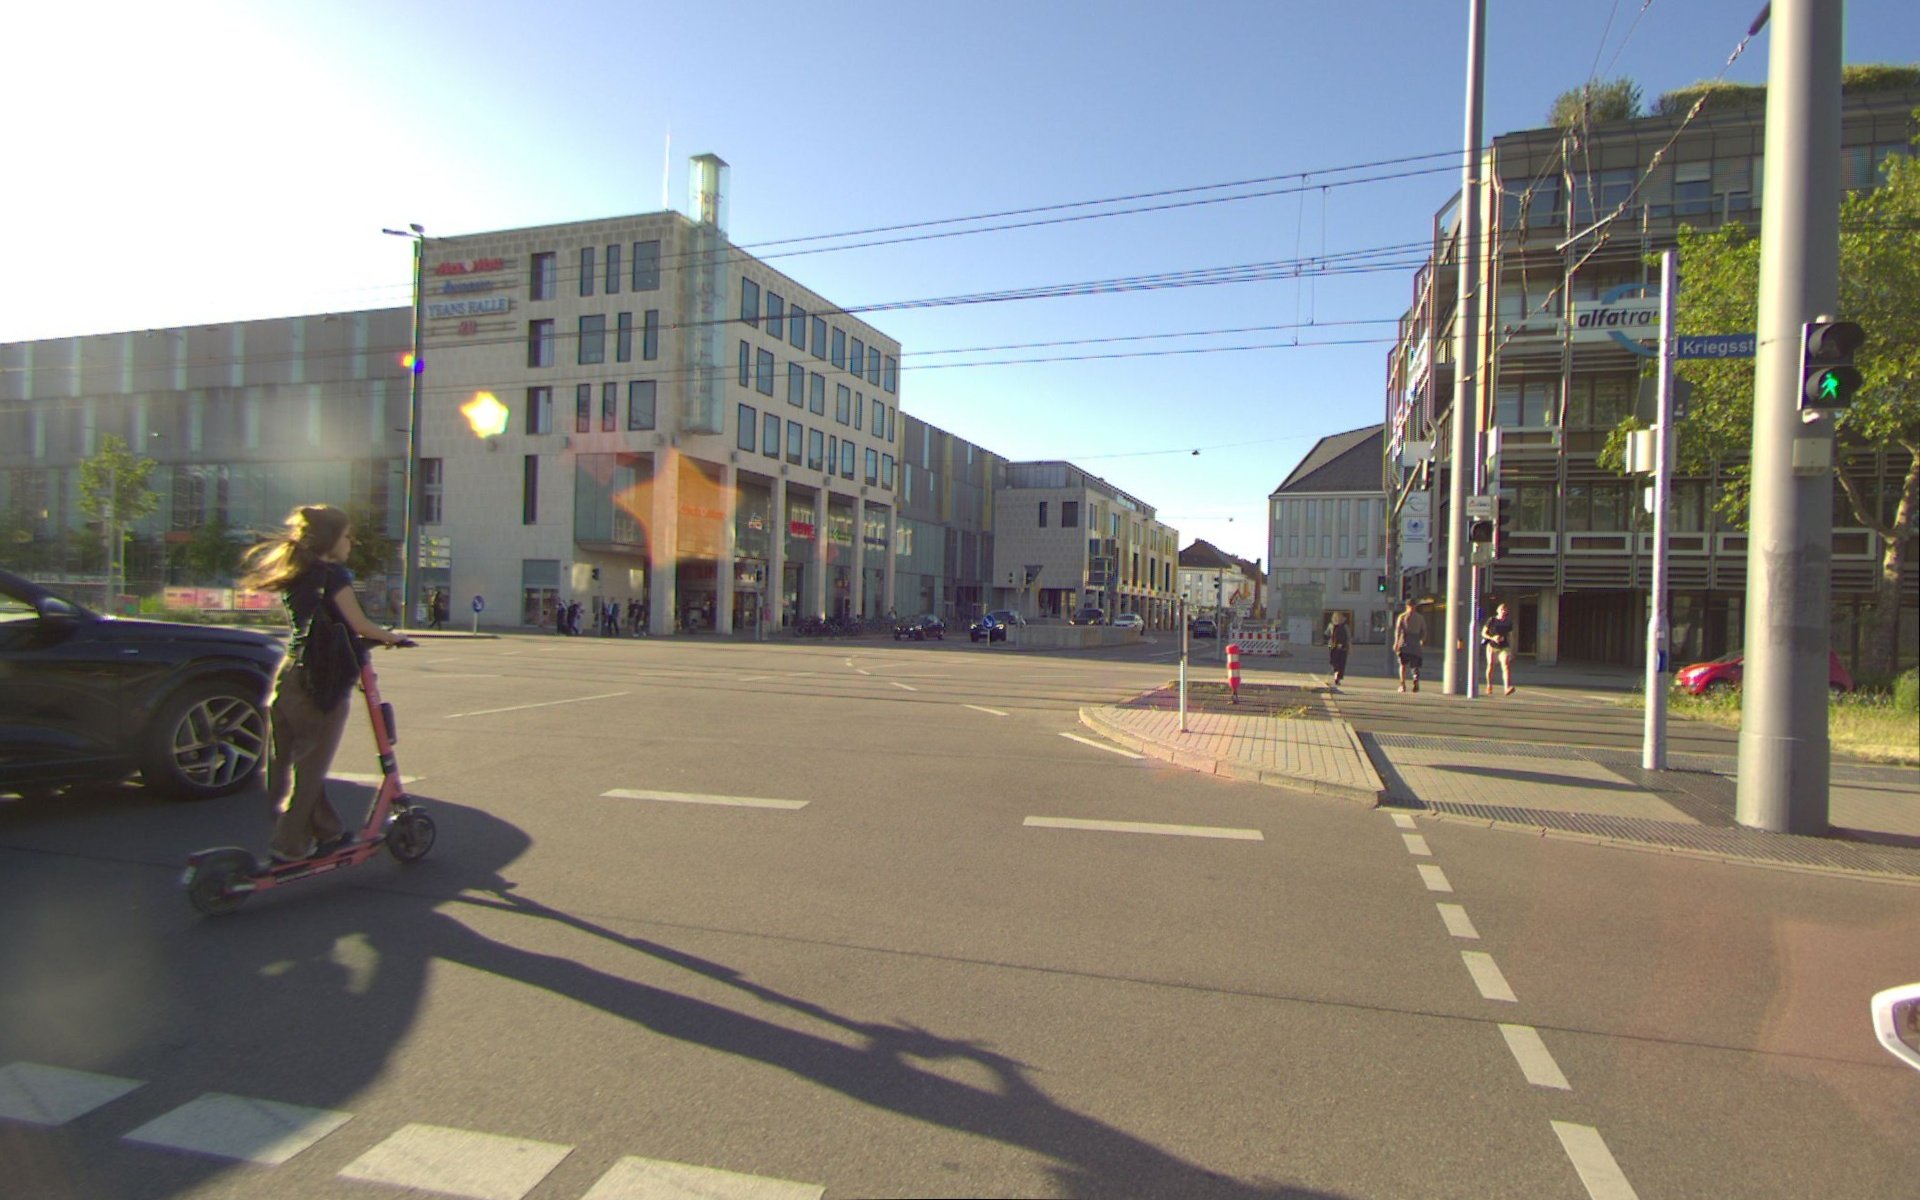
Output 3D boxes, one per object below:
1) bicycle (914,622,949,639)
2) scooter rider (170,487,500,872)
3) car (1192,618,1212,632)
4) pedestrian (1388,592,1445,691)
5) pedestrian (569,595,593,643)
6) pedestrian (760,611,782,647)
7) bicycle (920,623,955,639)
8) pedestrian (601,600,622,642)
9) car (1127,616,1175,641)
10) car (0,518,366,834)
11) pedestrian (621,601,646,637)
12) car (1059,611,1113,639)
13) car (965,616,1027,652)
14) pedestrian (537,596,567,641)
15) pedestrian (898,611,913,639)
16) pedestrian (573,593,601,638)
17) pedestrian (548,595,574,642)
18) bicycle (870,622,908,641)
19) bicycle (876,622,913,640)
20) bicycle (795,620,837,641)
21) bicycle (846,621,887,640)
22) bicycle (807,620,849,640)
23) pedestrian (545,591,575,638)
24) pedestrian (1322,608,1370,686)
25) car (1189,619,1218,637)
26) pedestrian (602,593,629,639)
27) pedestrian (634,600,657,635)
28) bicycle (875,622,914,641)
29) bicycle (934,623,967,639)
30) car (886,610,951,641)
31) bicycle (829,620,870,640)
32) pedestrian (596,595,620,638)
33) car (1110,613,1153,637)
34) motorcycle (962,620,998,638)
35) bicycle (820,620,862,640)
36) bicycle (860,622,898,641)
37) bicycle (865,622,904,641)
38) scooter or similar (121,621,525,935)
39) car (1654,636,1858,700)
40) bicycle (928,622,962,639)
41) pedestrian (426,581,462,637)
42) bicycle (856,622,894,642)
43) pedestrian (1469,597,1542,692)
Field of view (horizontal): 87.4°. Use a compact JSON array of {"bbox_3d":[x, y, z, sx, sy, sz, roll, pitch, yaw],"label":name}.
[{"bbox_3d":[-2.007,2.182,71.256,2.429,1.125,0.659,1,0,26],"label":"bicycle"},{"bbox_3d":[-2.870,0.322,4.720,0.632,1.564,1.117,2,0,22],"label":"scooter rider"},{"bbox_3d":[36.221,3.748,150.270,2.138,1.897,5.615,1,-1,21],"label":"car"},{"bbox_3d":[8.462,0.750,18.653,0.841,1.767,0.739,1,0,17],"label":"pedestrian"},{"bbox_3d":[-17.303,0.866,45.899,0.883,2.152,0.944,2,0,-15],"label":"pedestrian"},{"bbox_3d":[-9.357,1.429,49.710,0.738,1.763,0.756,2,0,22],"label":"pedestrian"},{"bbox_3d":[-1.630,2.208,71.936,2.429,1.125,0.659,1,0,26],"label":"bicycle"},{"bbox_3d":[-17.461,1.059,50.358,0.902,2.040,1.020,2,0,-15],"label":"pedestrian"},{"bbox_3d":[13.774,2.051,72.097,2.139,1.714,5.484,1,-1,24],"label":"car"},{"bbox_3d":[-6.204,0.378,5.478,2.158,1.684,4.792,1,0,20],"label":"car"},{"bbox_3d":[-14.926,0.869,45.865,0.933,1.592,0.836,2,0,-26],"label":"pedestrian"},{"bbox_3d":[8.635,1.724,68.409,2.139,1.714,5.484,1,-1,24],"label":"car"},{"bbox_3d":[1.892,1.706,51.538,1.906,1.699,4.294,1,-1,20],"label":"car"},{"bbox_3d":[-19.784,0.902,48.725,0.880,2.152,0.947,1,0,16],"label":"pedestrian"},{"bbox_3d":[-3.988,1.801,73.651,0.930,2.008,1.008,2,0,1],"label":"pedestrian"},{"bbox_3d":[-18.349,0.749,49.380,0.880,2.152,0.947,1,0,9],"label":"pedestrian"},{"bbox_3d":[-18.318,0.845,46.165,0.882,2.152,0.945,2,0,-10],"label":"pedestrian"},{"bbox_3d":[-4.563,2.026,64.528,2.429,1.125,0.683,1,0,26],"label":"bicycle"},{"bbox_3d":[-4.316,2.052,66.378,2.429,1.125,0.683,1,0,26],"label":"bicycle"},{"bbox_3d":[-8.101,1.698,56.399,2.364,1.127,0.657,1,0,25],"label":"bicycle"},{"bbox_3d":[-5.692,1.844,61.128,2.429,1.125,0.683,1,0,26],"label":"bicycle"},{"bbox_3d":[-7.572,1.714,57.637,2.429,1.125,0.683,1,0,26],"label":"bicycle"},{"bbox_3d":[-18.934,0.689,47.576,0.880,2.152,0.947,1,0,19],"label":"pedestrian"},{"bbox_3d":[8.179,0.979,21.327,0.881,1.570,0.924,1,1,19],"label":"pedestrian"},{"bbox_3d":[20.974,2.418,86.488,1.905,1.469,4.262,1,-1,21],"label":"car"},{"bbox_3d":[-16.410,0.751,47.882,1.045,2.157,1.095,2,0,-15],"label":"pedestrian"},{"bbox_3d":[-15.179,0.849,48.472,0.992,1.673,0.945,2,0,-18],"label":"pedestrian"},{"bbox_3d":[-4.240,2.046,65.404,2.429,1.125,0.834,1,0,26],"label":"bicycle"},{"bbox_3d":[-0.716,2.268,74.492,2.429,1.125,0.659,1,0,26],"label":"bicycle"},{"bbox_3d":[-2.197,1.388,55.011,1.906,1.602,4.292,1,0,23],"label":"car"},{"bbox_3d":[-6.559,1.759,59.561,2.429,1.125,0.683,1,0,26],"label":"bicycle"},{"bbox_3d":[-17.196,0.815,49.066,0.900,2.040,1.022,2,0,-9],"label":"pedestrian"},{"bbox_3d":[13.553,1.995,79.263,2.139,1.714,5.614,1,-1,22],"label":"car"},{"bbox_3d":[1.541,2.271,77.724,2.623,1.233,0.916,3,0,18],"label":"motorcycle"},{"bbox_3d":[-6.975,1.755,58.863,2.430,1.125,0.683,1,0,28],"label":"bicycle"},{"bbox_3d":[-5.086,2.000,63.195,2.429,1.125,0.537,1,0,26],"label":"bicycle"},{"bbox_3d":[-4.823,2.017,63.794,2.429,1.125,0.683,1,0,26],"label":"bicycle"},{"bbox_3d":[-2.879,0.712,4.721,0.632,1.191,1.483,2,0,21],"label":"scooter or similar"},{"bbox_3d":[20.852,1.784,26.500,3.803,1.505,1.847,1,-4,19],"label":"car"},{"bbox_3d":[-1.081,2.245,73.753,2.429,1.125,0.659,1,0,26],"label":"bicycle"},{"bbox_3d":[-20.462,0.366,39.850,0.880,2.152,0.947,2,0,2],"label":"pedestrian"},{"bbox_3d":[-5.317,1.986,62.673,2.429,1.125,0.593,1,0,26],"label":"bicycle"},{"bbox_3d":[11.474,0.914,21.138,1.042,1.936,1.004,1,0,-39],"label":"pedestrian"}]
